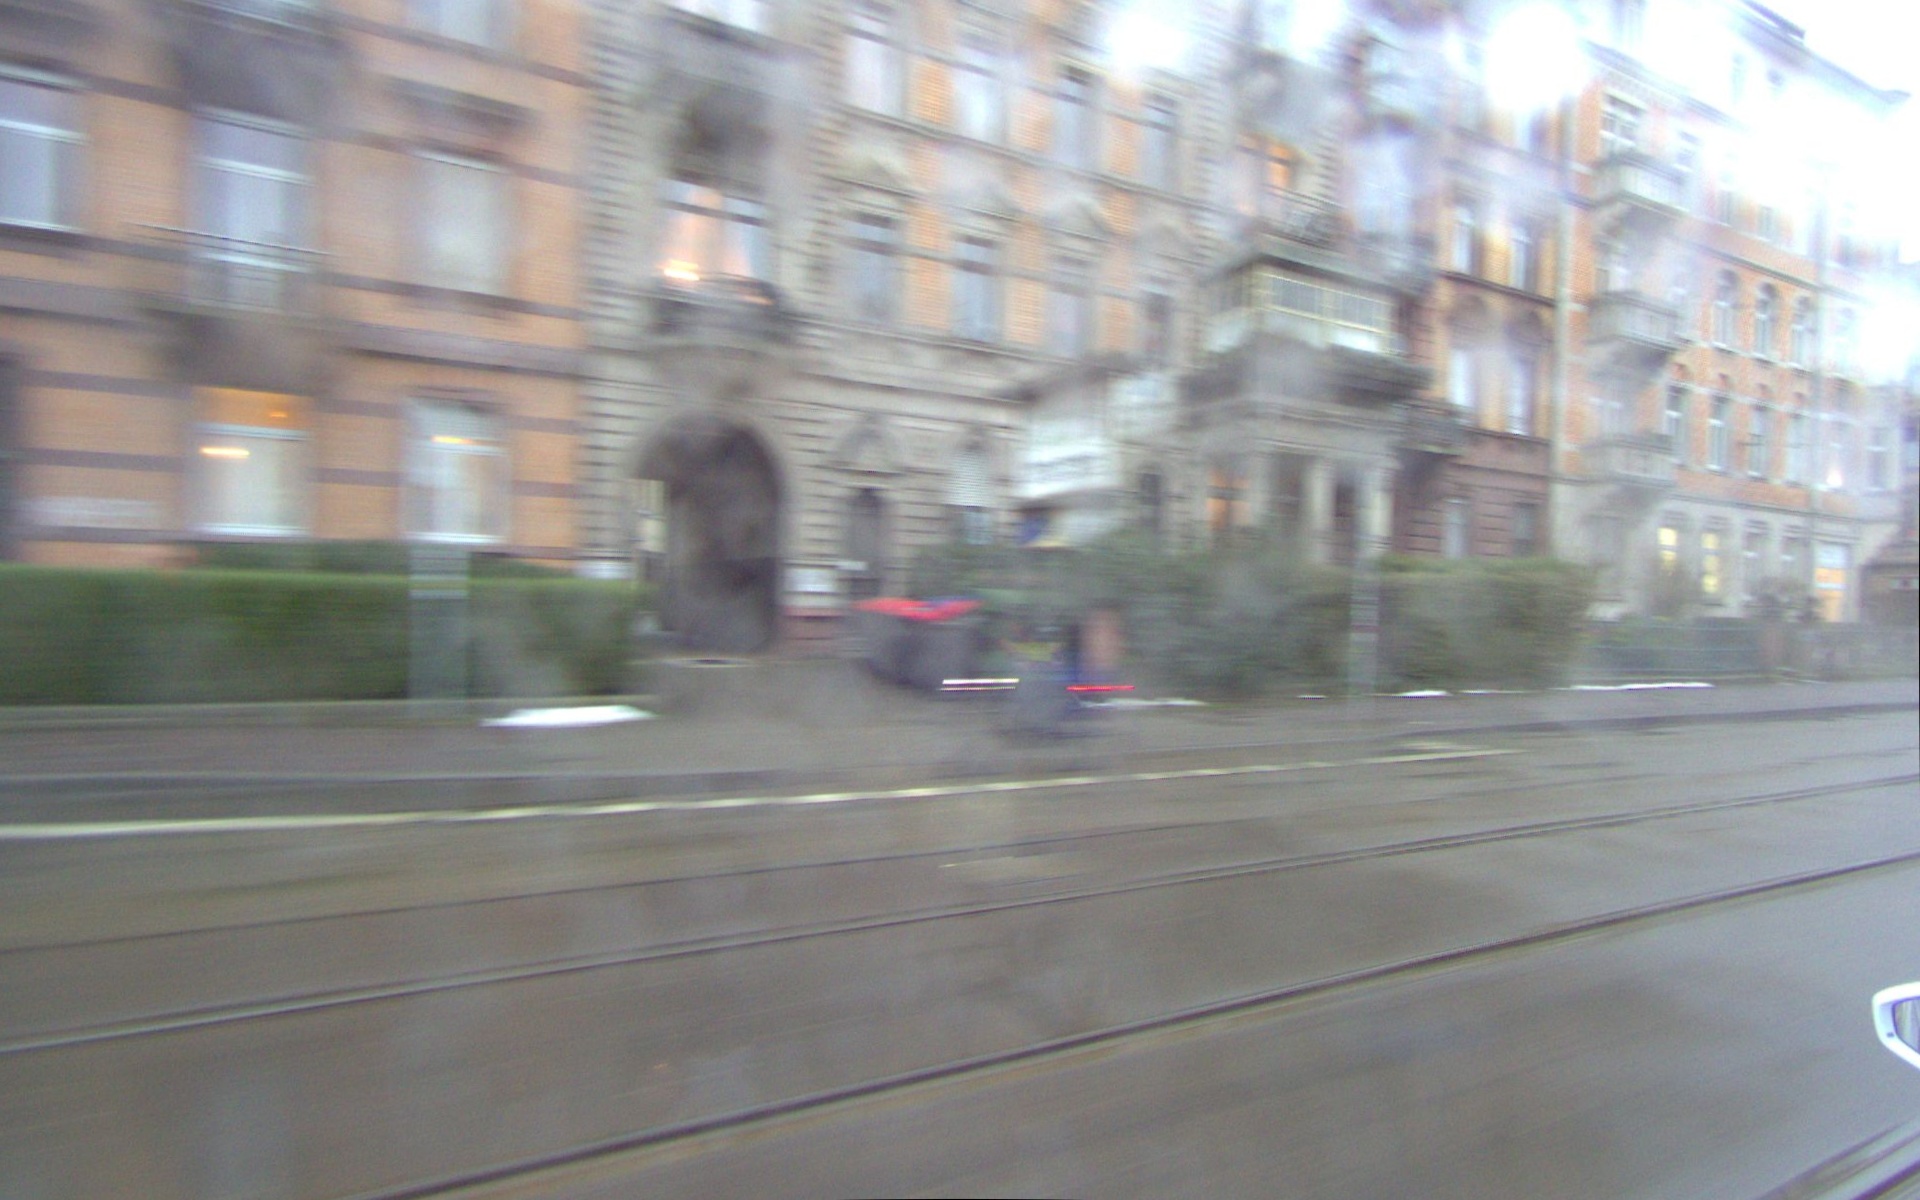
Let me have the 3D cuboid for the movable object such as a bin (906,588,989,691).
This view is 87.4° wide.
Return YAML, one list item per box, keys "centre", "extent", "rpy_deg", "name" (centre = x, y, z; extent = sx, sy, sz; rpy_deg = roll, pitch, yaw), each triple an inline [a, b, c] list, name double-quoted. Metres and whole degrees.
- centre: [-0.178, 0.512, 13.454]
  extent: [0.738, 1.309, 0.891]
  rpy_deg: [1, 1, -30]
  name: "movable object such as a bin"

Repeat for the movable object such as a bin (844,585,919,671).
- centre: [-1.222, 0.424, 15.510]
  extent: [0.764, 1.261, 1.005]
  rpy_deg: [1, 1, -30]
  name: "movable object such as a bin"

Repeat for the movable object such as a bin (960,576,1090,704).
- centre: [0.851, 0.506, 13.483]
  extent: [1.289, 1.607, 1.241]
  rpy_deg: [1, 1, -23]
  name: "movable object such as a bin"

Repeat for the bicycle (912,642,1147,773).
- centre: [0.611, 0.879, 8.580]
  extent: [1.908, 0.985, 0.676]
  rpy_deg: [2, 1, -27]
  name: "bicycle"

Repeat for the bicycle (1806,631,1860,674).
- centre: [19.962, 1.198, 22.957]
  extent: [1.664, 0.928, 0.262]
  rpy_deg: [1, 6, -28]
  name: "bicycle"

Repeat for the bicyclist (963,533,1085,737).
- centre: [0.534, 0.282, 8.536]
  extent: [0.756, 1.637, 0.681]
  rpy_deg: [1, 1, -27]
  name: "bicyclist"

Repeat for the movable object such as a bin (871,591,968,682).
- centre: [-0.602, 0.505, 14.458]
  extent: [0.934, 1.223, 1.179]
  rpy_deg: [1, 1, -30]
  name: "movable object such as a bin"
